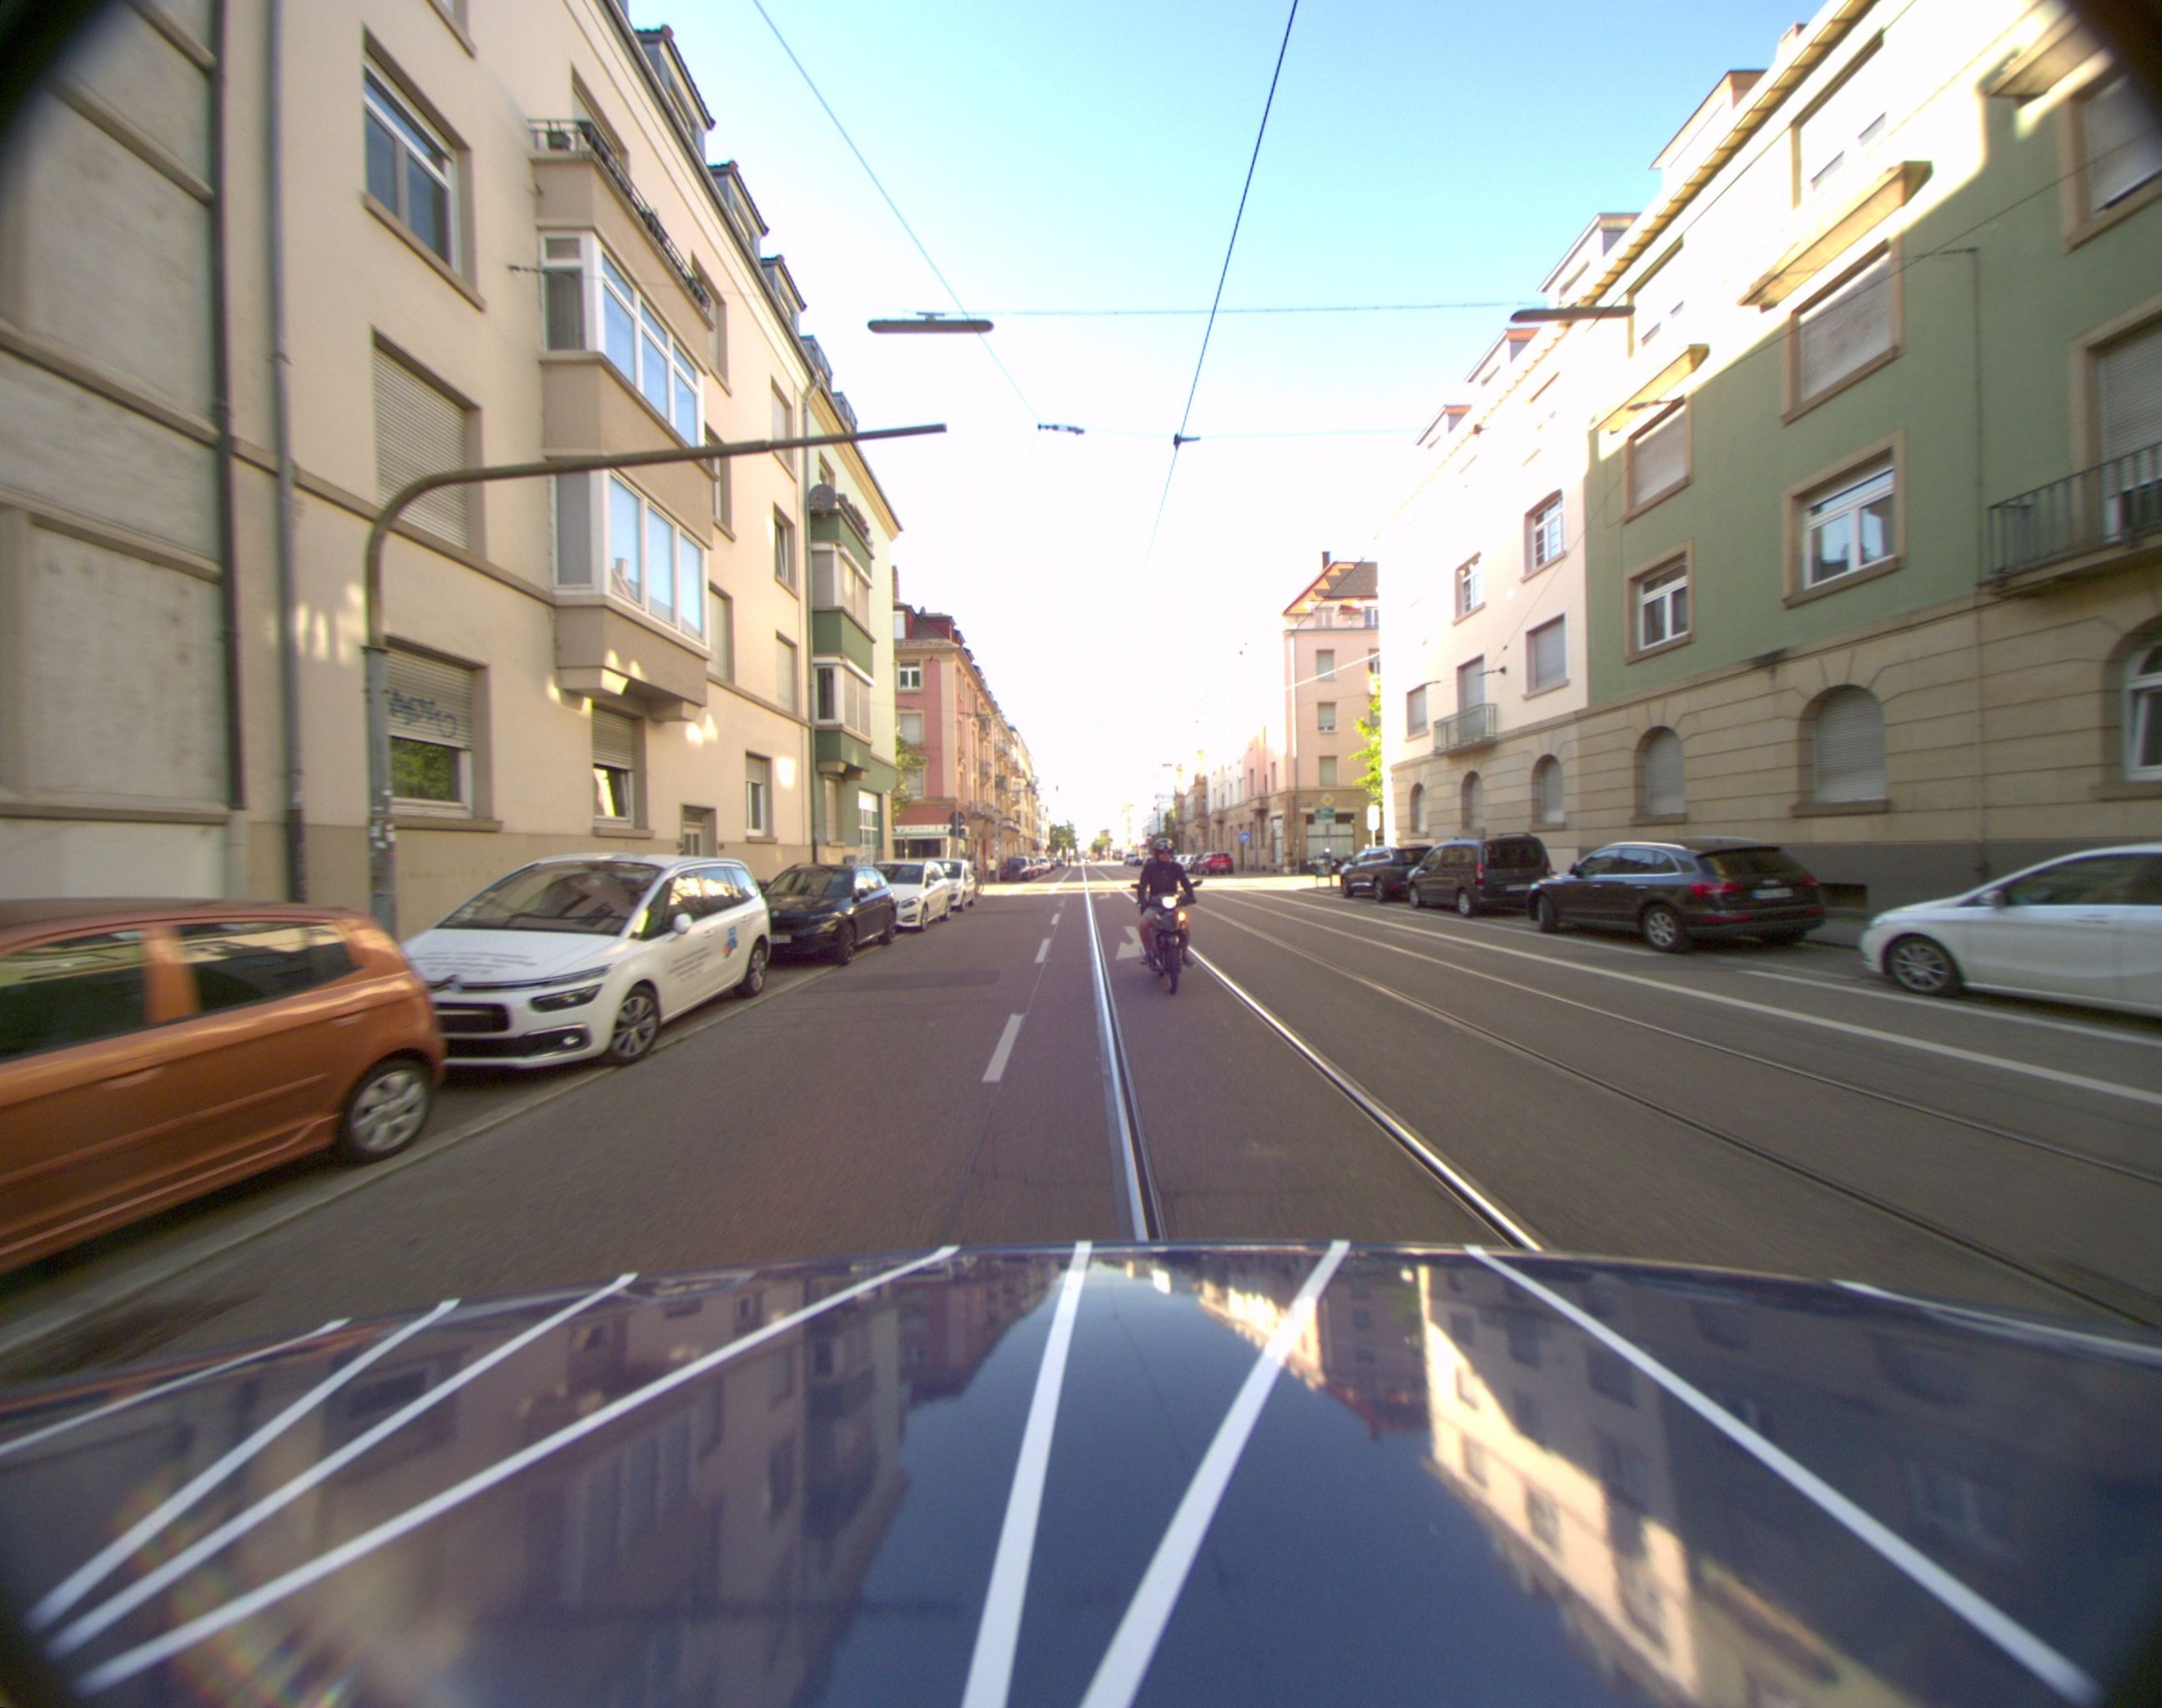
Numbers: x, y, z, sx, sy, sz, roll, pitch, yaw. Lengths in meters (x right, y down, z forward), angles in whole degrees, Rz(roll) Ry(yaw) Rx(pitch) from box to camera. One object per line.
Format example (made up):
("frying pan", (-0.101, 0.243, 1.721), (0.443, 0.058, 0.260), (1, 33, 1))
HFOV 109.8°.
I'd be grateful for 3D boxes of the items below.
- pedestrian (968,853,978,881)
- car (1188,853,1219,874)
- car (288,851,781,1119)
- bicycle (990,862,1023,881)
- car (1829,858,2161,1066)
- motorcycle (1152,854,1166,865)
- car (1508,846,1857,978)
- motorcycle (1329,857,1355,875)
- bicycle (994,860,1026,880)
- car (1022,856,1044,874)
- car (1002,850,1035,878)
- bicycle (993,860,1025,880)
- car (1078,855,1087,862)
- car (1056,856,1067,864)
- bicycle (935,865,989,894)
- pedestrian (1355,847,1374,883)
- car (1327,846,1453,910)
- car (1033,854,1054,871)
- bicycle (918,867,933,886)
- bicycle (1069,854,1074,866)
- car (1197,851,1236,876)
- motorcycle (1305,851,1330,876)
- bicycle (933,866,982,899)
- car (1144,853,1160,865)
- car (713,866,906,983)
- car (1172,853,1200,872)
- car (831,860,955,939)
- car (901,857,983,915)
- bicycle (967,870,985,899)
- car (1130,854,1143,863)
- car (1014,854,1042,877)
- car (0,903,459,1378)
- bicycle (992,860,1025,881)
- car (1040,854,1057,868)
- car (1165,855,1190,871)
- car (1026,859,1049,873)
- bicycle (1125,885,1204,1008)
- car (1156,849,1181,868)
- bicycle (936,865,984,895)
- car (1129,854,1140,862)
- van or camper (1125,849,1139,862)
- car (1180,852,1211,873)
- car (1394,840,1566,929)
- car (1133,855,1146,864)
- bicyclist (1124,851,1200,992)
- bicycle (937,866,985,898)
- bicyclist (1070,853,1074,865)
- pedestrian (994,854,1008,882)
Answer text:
("pedestrian", (-6.363, 0.760, 44.818), (0.514, 1.677, 0.448), (-1, 0, 0))
("car", (9.449, 0.706, 58.789), (1.788, 1.543, 3.019), (-3, 0, 0))
("car", (-4.525, 0.861, 7.358), (1.659, 1.742, 4.601), (-1, 0, -4))
("bicycle", (-4.511, 1.048, 46.161), (1.928, 1.154, 0.527), (0, 1, 1))
("car", (9.169, 0.840, 6.265), (1.722, 1.494, 4.388), (-3, 0, 2))
("motorcycle", (9.953, 0.748, 96.640), (0.884, 1.343, 1.961), (-1, 0, 33))
("car", (9.113, 0.754, 12.164), (1.788, 1.617, 4.608), (-3, 0, -2))
("motorcycle", (15.540, 0.701, 45.189), (2.040, 1.029, 0.555), (-1, 0, -43))
("bicycle", (-4.491, 1.007, 47.873), (1.964, 1.220, 0.527), (0, 1, 1))
("car", (-4.217, 0.962, 67.317), (1.658, 1.474, 4.473), (-1, 0, -1))
("car", (-4.150, 0.631, 51.099), (1.757, 1.725, 4.506), (2, 0, 1))
("bicycle", (-4.487, 1.010, 47.301), (1.964, 1.220, 0.527), (0, 1, 1))
("car", (0.396, 1.158, 179.376), (1.971, 1.577, 4.000), (-2, 0, 1))
("car", (-3.585, 1.074, 138.998), (1.714, 1.399, 4.358), (1, 0, 2))
("bicycle", (-4.982, 1.073, 31.907), (2.091, 1.148, 0.848), (2, 0, 1))
("pedestrian", (13.716, 0.521, 36.734), (0.608, 1.702, 0.732), (-1, 0, 0))
("car", (9.350, 0.664, 23.453), (1.788, 1.680, 4.667), (-3, 0, -2))
("car", (-3.870, 0.815, 78.752), (1.847, 1.681, 4.504), (-1, 0, 1))
("bicycle", (-8.855, 1.279, 43.276), (0.469, 1.043, 1.728), (-1, 0, 0))
("bicycle", (-1.385, 0.895, 111.998), (0.775, 1.700, 1.937), (-2, 0, 0))
("car", (9.536, 0.648, 53.942), (1.788, 1.597, 4.396), (-3, 0, -2))
("motorcycle", (14.095, 0.564, 45.236), (0.948, 1.410, 2.029), (-1, 0, 30))
("bicycle", (-4.683, 1.073, 28.865), (1.727, 1.148, 0.469), (2, 0, 1))
("car", (9.619, 0.665, 102.969), (1.787, 1.556, 4.611), (-3, 0, 2))
("car", (-4.348, 1.032, 12.940), (1.659, 1.557, 4.338), (-1, 0, 1))
("car", (9.621, 0.746, 69.625), (1.776, 1.538, 4.365), (-3, 0, -2))
("car", (-4.283, 0.967, 18.009), (1.788, 1.567, 4.326), (-1, 0, 1))
("car", (-4.288, 0.943, 24.004), (1.788, 1.622, 4.000), (-1, 0, 1))
("bicycle", (-3.993, 1.154, 28.948), (0.353, 1.038, 1.728), (-1, 0, 2))
("car", (9.771, 0.791, 133.185), (1.788, 1.472, 4.699), (-3, 0, 0))
("car", (-4.014, 0.851, 57.787), (1.757, 1.585, 3.730), (-1, 0, 2))
("car", (-4.655, 1.095, 2.856), (1.618, 1.551, 3.600), (-1, 0, 1))
("bicycle", (-4.472, 1.013, 46.740), (1.964, 1.220, 0.527), (0, 1, 1))
("car", (-4.091, 0.840, 95.728), (1.863, 1.656, 4.562), (-1, 0, 2))
("car", (9.452, 0.860, 74.672), (1.788, 1.514, 4.359), (-3, 0, -1))
("car", (-4.103, 1.105, 72.418), (1.658, 1.241, 4.505), (-1, 0, 3))
("bicycle", (0.921, 0.997, 8.778), (0.767, 1.191, 1.752), (-1, 0, 3))
("car", (9.742, 0.508, 84.725), (1.978, 1.937, 5.251), (-3, 0, -1))
("bicycle", (-4.963, 1.069, 31.220), (1.847, 1.148, 0.469), (2, 0, 1))
("car", (9.936, 0.747, 142.222), (1.787, 1.390, 4.445), (-3, 0, 2))
("van or camper", (10.039, 0.228, 149.288), (2.177, 2.453, 6.231), (-3, 0, 0))
("car", (9.695, 0.672, 64.539), (1.788, 1.612, 4.178), (-3, 0, -2))
("car", (9.368, 0.646, 18.339), (1.787, 1.805, 4.528), (-3, 0, 1))
("car", (9.808, 0.869, 127.208), (1.787, 1.437, 4.841), (-3, 0, 1))
("bicyclist", (0.914, 0.743, 8.812), (0.774, 1.531, 0.939), (-1, 0, 1))
("bicycle", (-4.646, 1.077, 29.431), (1.727, 1.148, 0.469), (2, 0, 1))
("bicyclist", (-1.315, 0.776, 112.024), (0.509, 1.692, 0.845), (-2, 0, 0))
("pedestrian", (-4.735, 0.829, 45.075), (0.731, 1.624, 0.703), (-3, 2, -4))
